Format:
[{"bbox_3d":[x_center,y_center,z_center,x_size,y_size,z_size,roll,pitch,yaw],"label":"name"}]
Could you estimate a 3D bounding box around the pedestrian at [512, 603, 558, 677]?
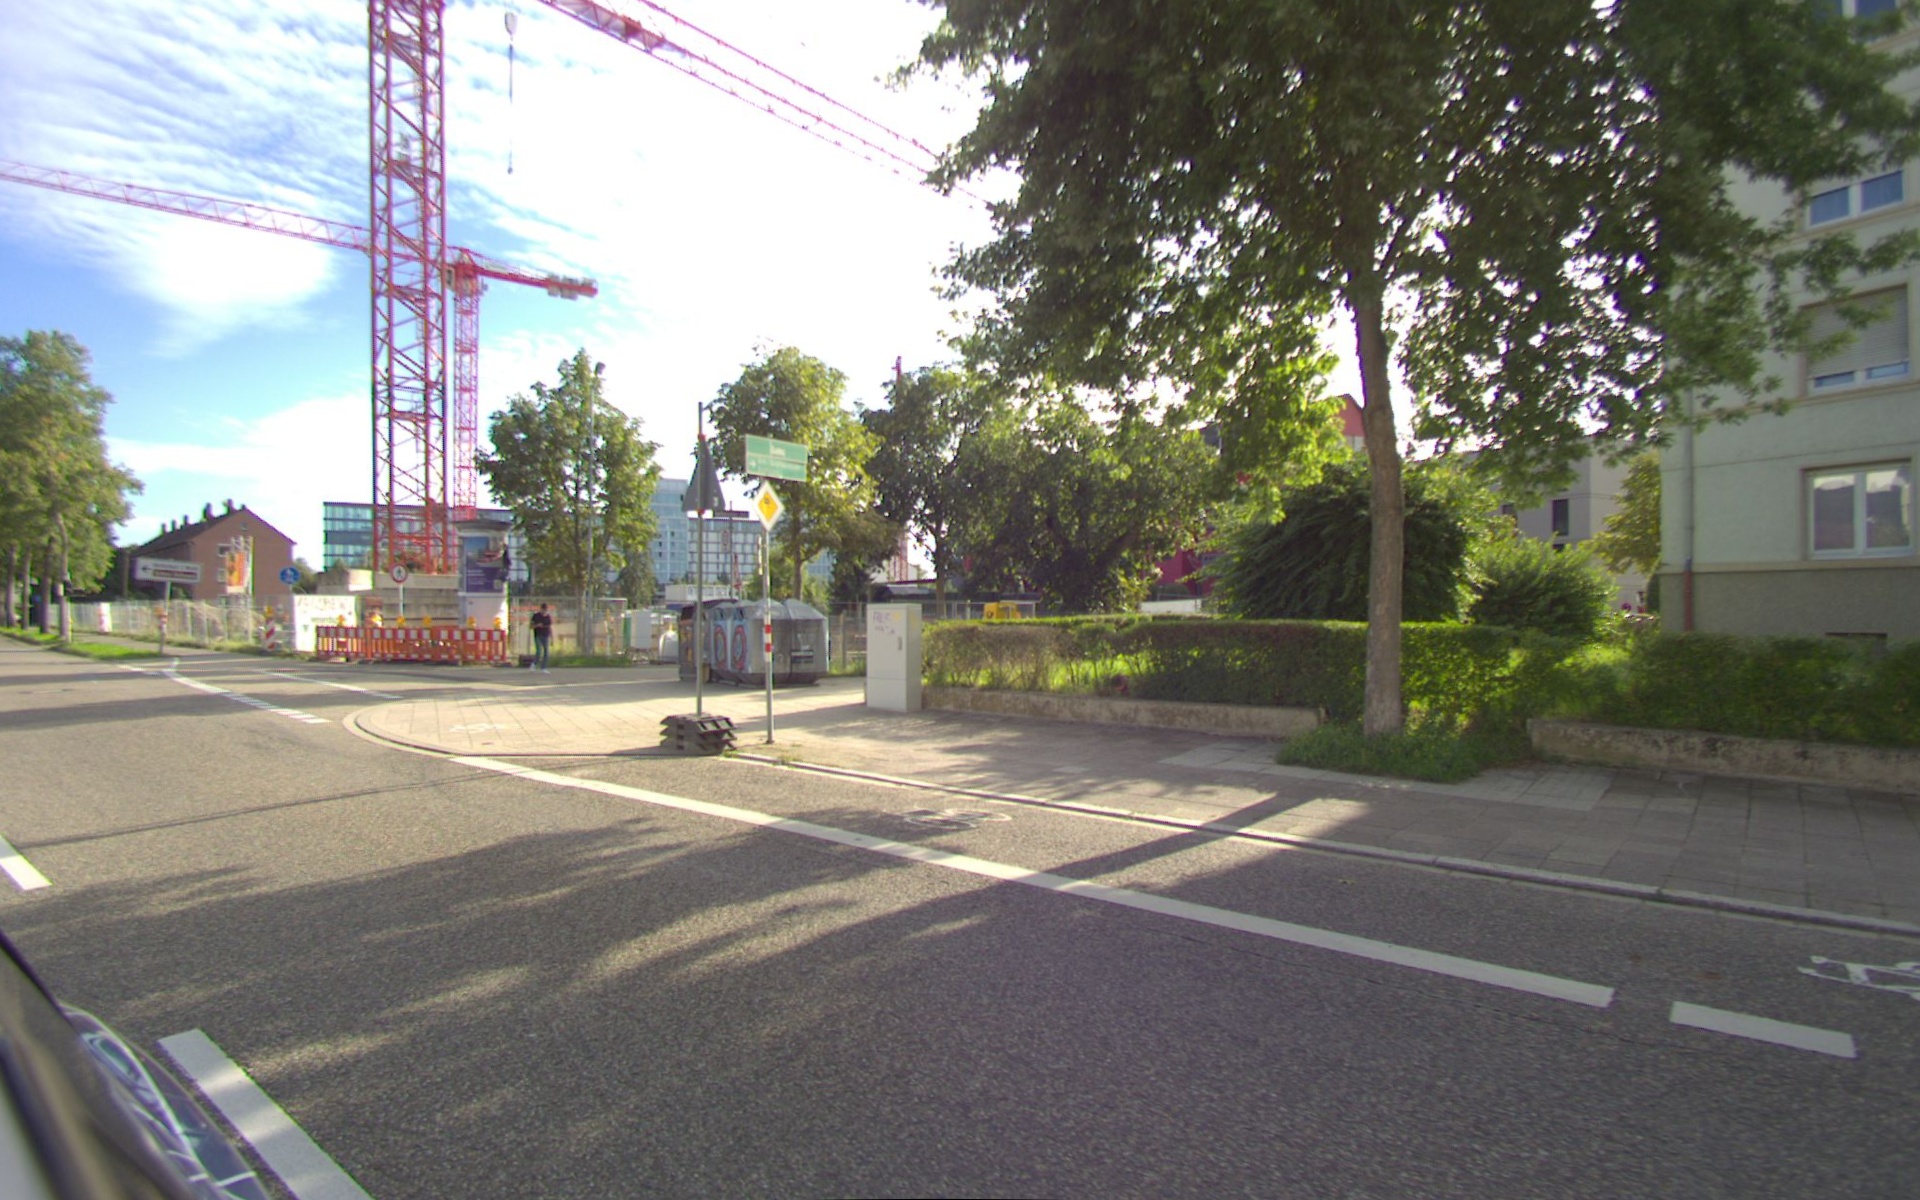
[{"bbox_3d":[-10.541,0.982,25.101,0.774,1.781,0.734,-1,-2,39],"label":"pedestrian"}]
